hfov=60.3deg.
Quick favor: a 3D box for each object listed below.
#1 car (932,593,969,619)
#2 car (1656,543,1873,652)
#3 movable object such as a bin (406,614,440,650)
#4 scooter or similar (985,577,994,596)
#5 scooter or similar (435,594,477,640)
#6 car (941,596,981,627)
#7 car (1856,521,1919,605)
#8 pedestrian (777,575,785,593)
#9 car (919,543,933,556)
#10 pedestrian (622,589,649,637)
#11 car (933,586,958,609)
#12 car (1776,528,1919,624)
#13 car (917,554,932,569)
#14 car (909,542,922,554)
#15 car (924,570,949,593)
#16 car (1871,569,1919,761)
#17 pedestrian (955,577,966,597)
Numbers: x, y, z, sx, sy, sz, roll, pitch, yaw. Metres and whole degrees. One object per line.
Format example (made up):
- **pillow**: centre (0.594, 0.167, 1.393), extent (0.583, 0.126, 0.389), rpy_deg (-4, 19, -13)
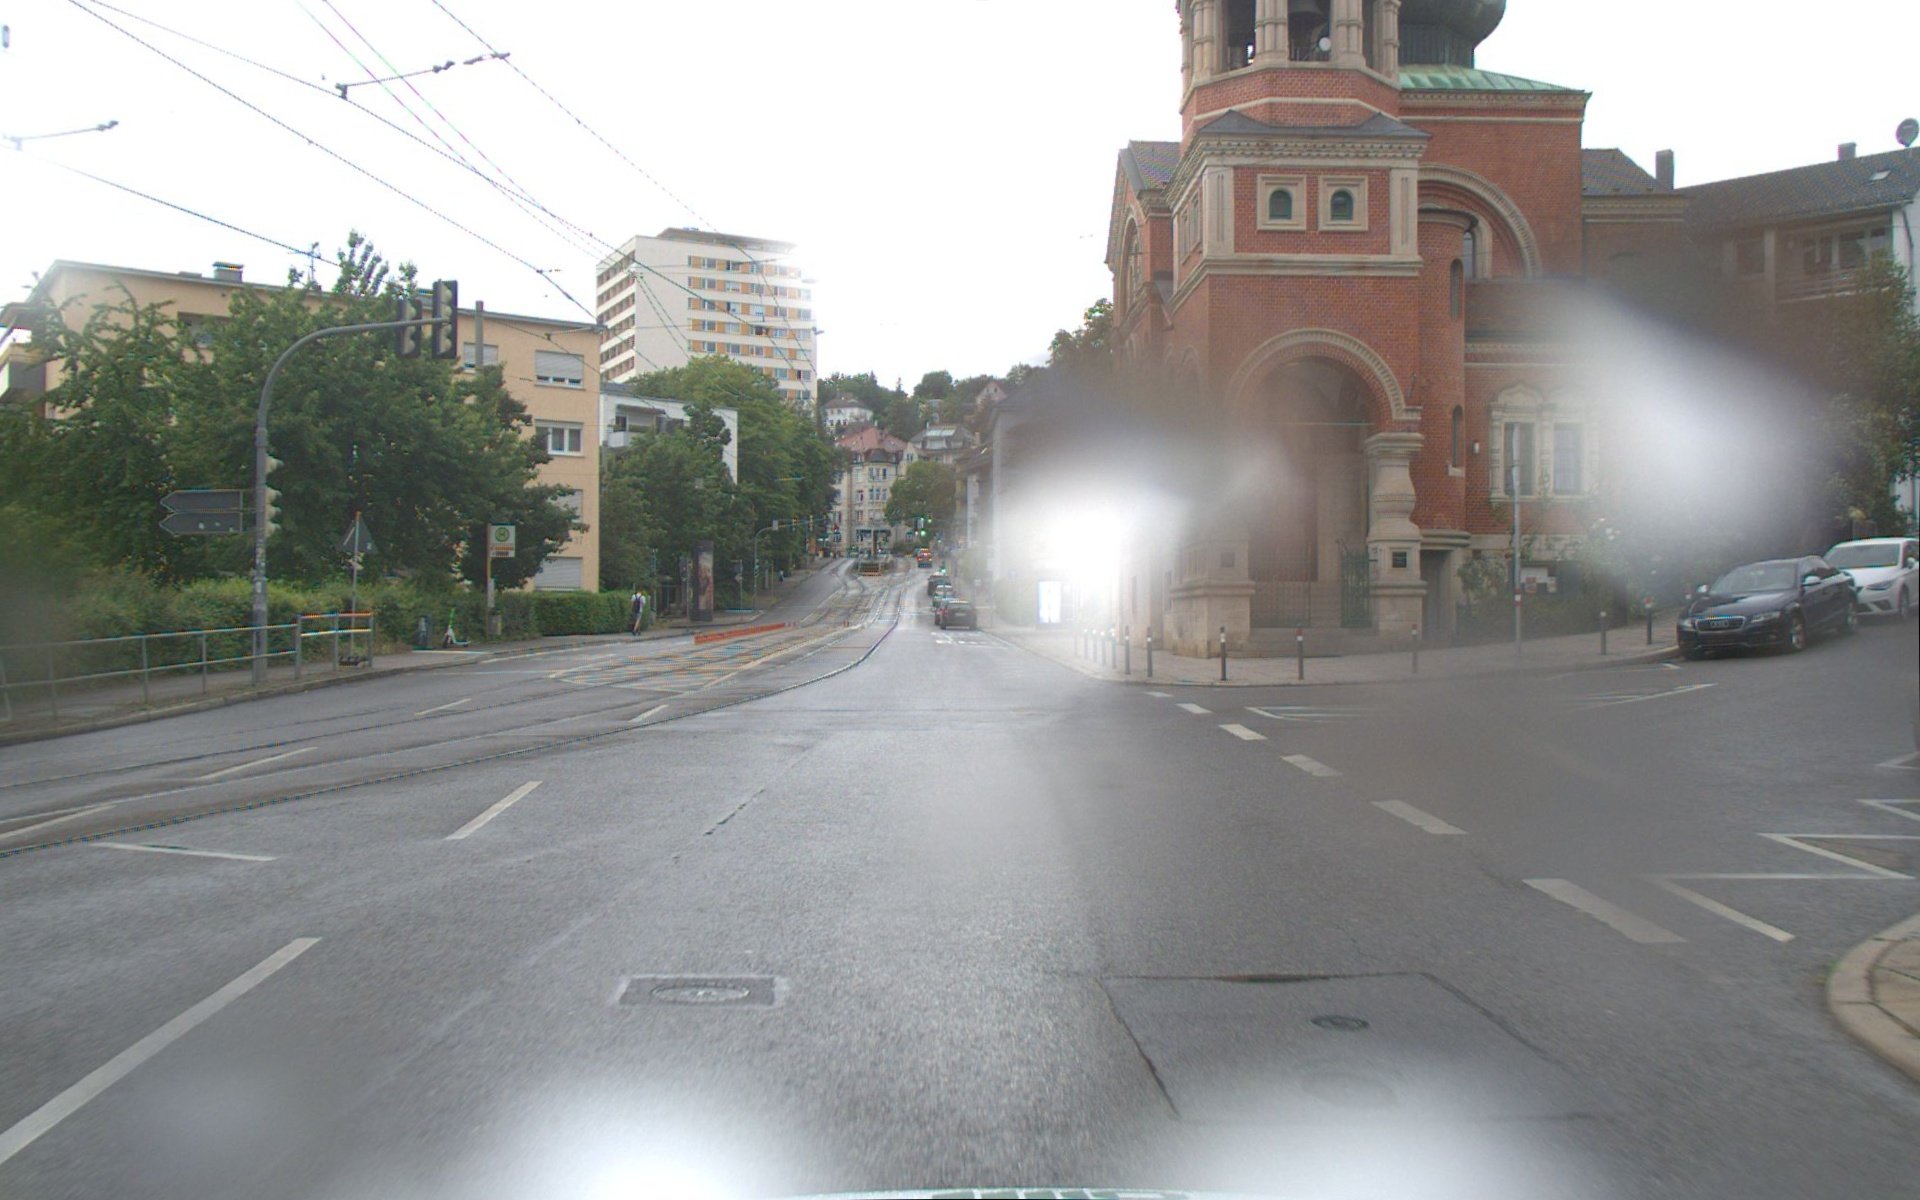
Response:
- **car**: centre (-0.592, 0.338, 95.705), extent (1.901, 1.489, 4.203), rpy_deg (1, 0, -4)
- **car**: centre (13.443, -0.078, 27.514), extent (1.909, 1.391, 4.450), rpy_deg (-4, 2, 44)
- **movable object such as a bin**: centre (-13.905, 0.832, 42.816), extent (0.673, 0.897, 0.759), rpy_deg (1, -1, -7)
- **scooter or similar**: centre (2.188, -0.962, 121.470), extent (0.562, 1.270, 1.612), rpy_deg (1, 4, 4)
- **scooter or similar**: centre (-13.660, 0.472, 44.878), extent (0.560, 1.205, 1.600), rpy_deg (1, -1, 3)
- **car**: centre (0.027, 0.553, 84.196), extent (1.821, 1.513, 4.642), rpy_deg (1, 0, -3)
- **car**: centre (20.495, -0.883, 34.772), extent (1.910, 1.467, 3.608), rpy_deg (-6, 1, 44)
- **pedestrian**: centre (-16.487, -1.516, 152.382), extent (0.571, 1.628, 0.868), rpy_deg (2, 1, -5)
- **car**: centre (-4.851, -7.107, 232.902), extent (1.868, 1.670, 4.688), rpy_deg (2, 2, -3)
- **pedestrian**: centre (-13.002, 0.532, 66.273), extent (0.901, 1.878, 1.016), rpy_deg (2, -1, -6)
- **car**: centre (-1.096, -0.186, 120.664), extent (1.670, 1.458, 4.101), rpy_deg (2, 2, -3)
- **car**: centre (17.071, -0.497, 31.130), extent (1.914, 1.521, 3.904), rpy_deg (-3, 2, 44)
- **car**: centre (-4.408, -4.802, 206.815), extent (1.765, 1.674, 3.999), rpy_deg (1, 0, -1)
- **car**: centre (-6.991, -8.140, 259.340), extent (1.868, 1.670, 4.688), rpy_deg (2, 2, -3)
- **car**: centre (-1.974, -1.547, 137.057), extent (1.868, 1.670, 4.688), rpy_deg (2, 2, -3)
- **car**: centre (9.711, 0.440, 14.609), extent (1.967, 1.482, 4.423), rpy_deg (1, 4, 42)
- **pedestrian**: centre (0.039, -1.052, 135.659), extent (0.864, 1.610, 0.802), rpy_deg (-1, 4, 0)
